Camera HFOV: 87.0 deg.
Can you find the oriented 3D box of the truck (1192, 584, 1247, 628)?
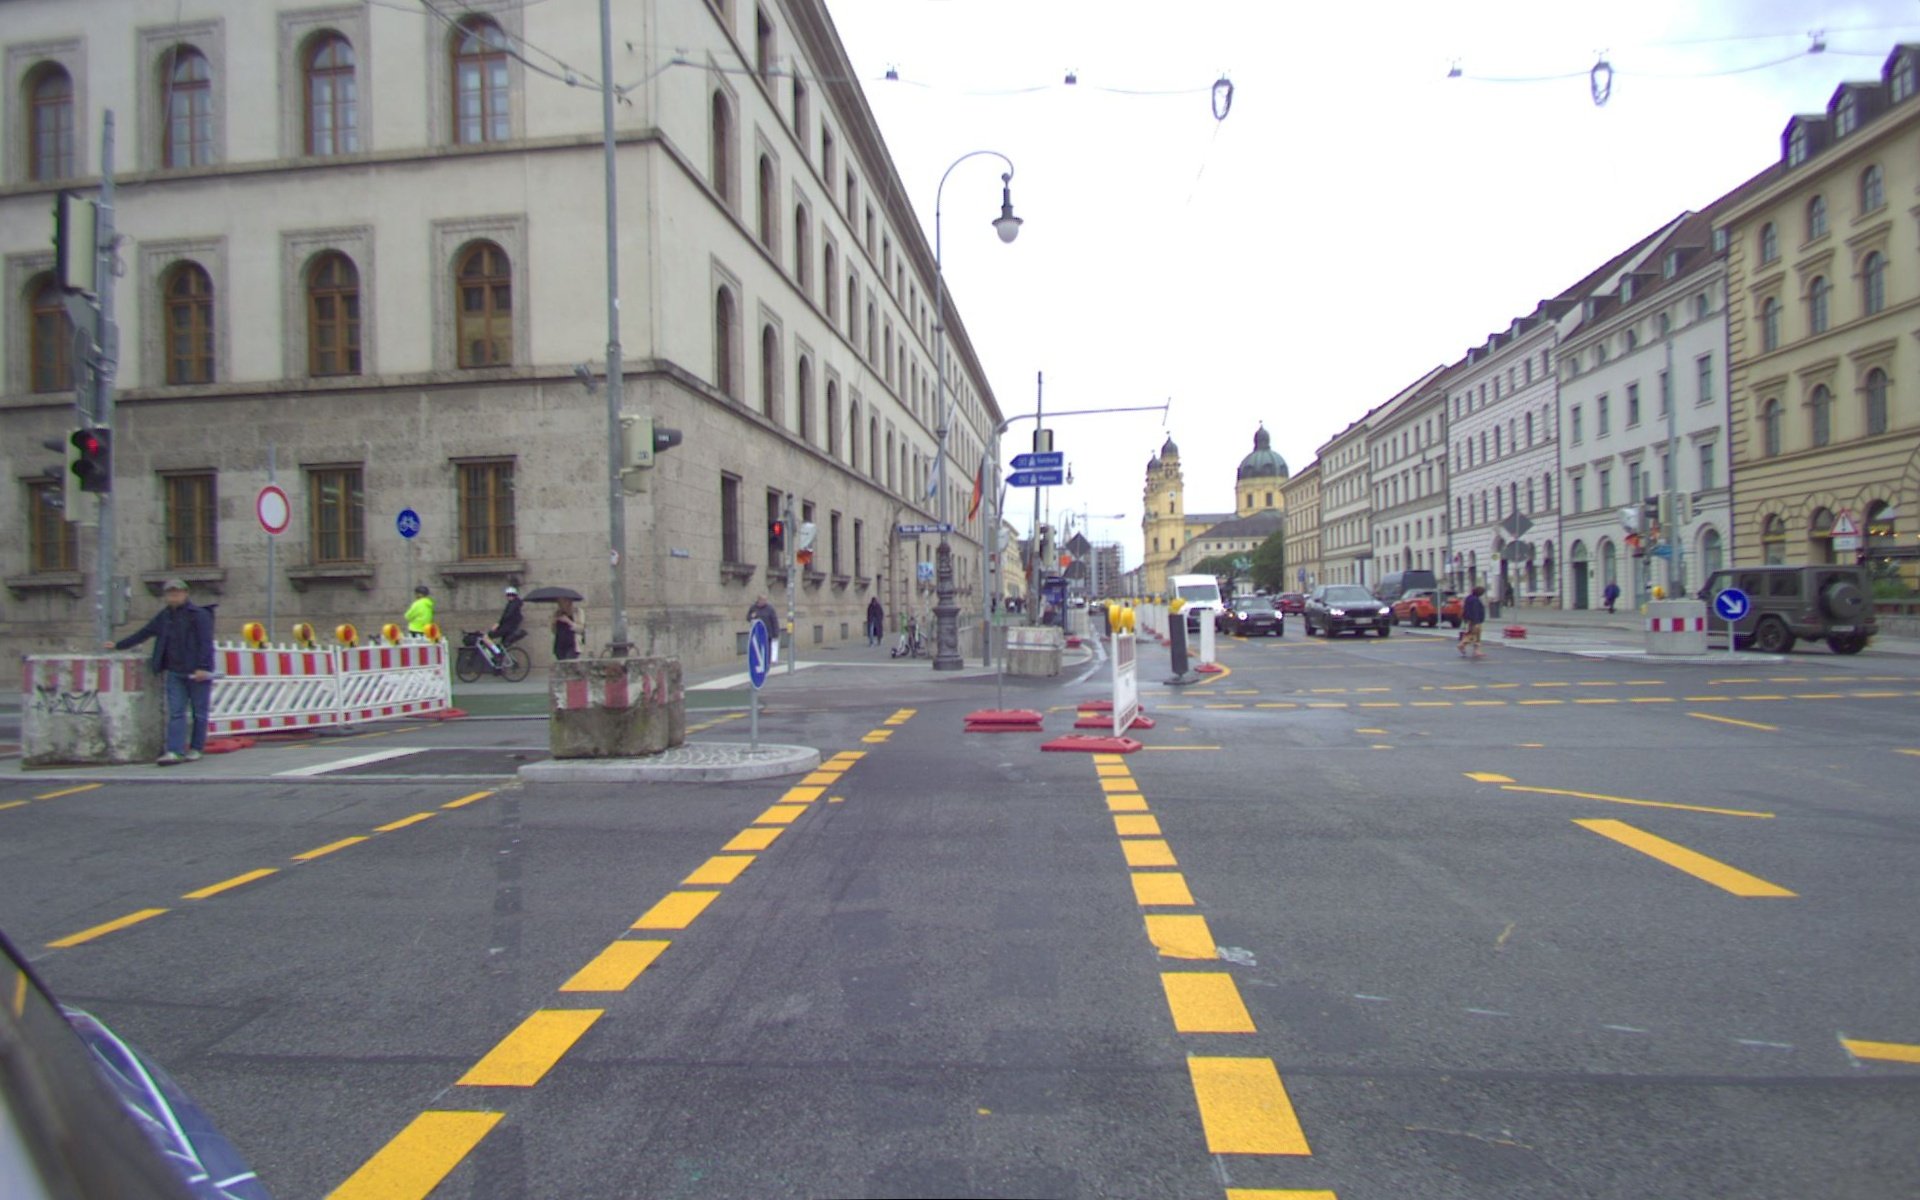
[{"bbox_3d":[19.148,0.352,75.056,2.956,3.035,7.127,-2,1,8],"label":"truck"}]

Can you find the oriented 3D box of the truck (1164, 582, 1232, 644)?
[{"bbox_3d":[10.401,0.551,44.670,2.090,2.499,5.849,-2,0,6],"label":"truck"}]

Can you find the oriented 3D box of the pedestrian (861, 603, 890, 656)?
[{"bbox_3d":[-2.715,0.945,32.610,0.731,1.667,0.724,1,0,9],"label":"pedestrian"}]

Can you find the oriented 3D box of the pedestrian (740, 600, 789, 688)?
[{"bbox_3d":[-3.820,0.853,19.801,0.730,1.667,0.725,1,0,6],"label":"pedestrian"}]

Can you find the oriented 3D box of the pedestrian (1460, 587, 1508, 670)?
[{"bbox_3d":[11.574,0.610,22.355,0.729,1.785,0.736,-2,1,13],"label":"pedestrian"}]

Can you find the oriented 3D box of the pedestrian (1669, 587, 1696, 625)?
[{"bbox_3d":[33.945,0.284,47.540,0.730,1.785,0.734,-1,0,7],"label":"pedestrian"}]

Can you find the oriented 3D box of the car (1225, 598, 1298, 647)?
[{"bbox_3d":[10.992,0.793,37.168,1.779,1.606,3.993,-2,1,6],"label":"car"}]

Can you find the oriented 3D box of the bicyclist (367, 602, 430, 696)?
[{"bbox_3d":[-10.955,0.938,19.768,0.681,1.762,0.799,-2,1,9],"label":"bicyclist"}]

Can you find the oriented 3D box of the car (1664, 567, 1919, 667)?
[{"bbox_3d":[18.916,0.366,23.129,2.211,2.029,4.455,-2,0,-5],"label":"car"}]

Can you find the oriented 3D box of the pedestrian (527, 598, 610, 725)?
[{"bbox_3d":[-5.702,0.881,14.779,0.731,1.785,0.843,-2,1,12],"label":"pedestrian"}]

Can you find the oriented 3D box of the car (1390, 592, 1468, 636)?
[{"bbox_3d":[19.834,0.577,42.944,1.802,1.733,3.991,-2,0,7],"label":"car"}]

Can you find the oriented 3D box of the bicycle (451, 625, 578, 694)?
[{"bbox_3d":[-8.605,1.148,19.575,2.176,1.252,0.787,-2,1,12],"label":"bicycle"}]

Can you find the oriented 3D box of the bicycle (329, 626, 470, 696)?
[{"bbox_3d":[-10.937,1.187,19.769,2.421,1.252,0.787,-2,1,10],"label":"bicycle"}]

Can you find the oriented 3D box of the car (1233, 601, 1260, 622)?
[{"bbox_3d":[25.811,1.021,91.247,1.802,1.733,3.990,-2,0,8],"label":"car"}]

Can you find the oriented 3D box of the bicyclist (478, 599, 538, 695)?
[{"bbox_3d":[-8.735,0.900,19.598,0.681,1.789,0.798,-2,1,11],"label":"bicyclist"}]

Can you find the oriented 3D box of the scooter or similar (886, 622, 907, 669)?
[{"bbox_3d":[-1.713,1.230,27.660,0.376,1.153,1.989,-2,1,1],"label":"scooter or similar"}]

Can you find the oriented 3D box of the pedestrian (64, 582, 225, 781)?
[{"bbox_3d":[-7.516,0.728,9.358,1.028,1.756,0.514,-2,0,-2],"label":"pedestrian"}]

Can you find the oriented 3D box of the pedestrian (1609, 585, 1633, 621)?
[{"bbox_3d":[33.892,0.161,51.899,0.730,1.785,0.734,-1,0,7],"label":"pedestrian"}]

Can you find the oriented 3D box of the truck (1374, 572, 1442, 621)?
[{"bbox_3d":[25.942,-0.196,58.781,2.195,2.683,4.773,-1,0,7],"label":"truck"}]

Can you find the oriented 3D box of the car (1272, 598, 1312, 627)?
[{"bbox_3d":[22.253,0.818,67.957,1.846,1.812,3.744,-1,0,8],"label":"car"}]

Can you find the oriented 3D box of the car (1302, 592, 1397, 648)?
[{"bbox_3d":[12.906,0.626,33.792,1.976,1.696,3.992,-2,0,7],"label":"car"}]

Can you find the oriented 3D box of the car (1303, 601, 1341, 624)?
[{"bbox_3d":[27.610,0.934,77.230,1.802,1.733,3.991,-2,0,7],"label":"car"}]

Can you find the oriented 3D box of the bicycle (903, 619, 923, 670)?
[{"bbox_3d":[-1.282,1.195,27.713,0.376,1.252,1.989,-2,1,1],"label":"bicycle"}]

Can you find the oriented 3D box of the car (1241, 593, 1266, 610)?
[{"bbox_3d":[30.450,0.167,105.066,1.802,1.733,3.991,-2,0,7],"label":"car"}]
